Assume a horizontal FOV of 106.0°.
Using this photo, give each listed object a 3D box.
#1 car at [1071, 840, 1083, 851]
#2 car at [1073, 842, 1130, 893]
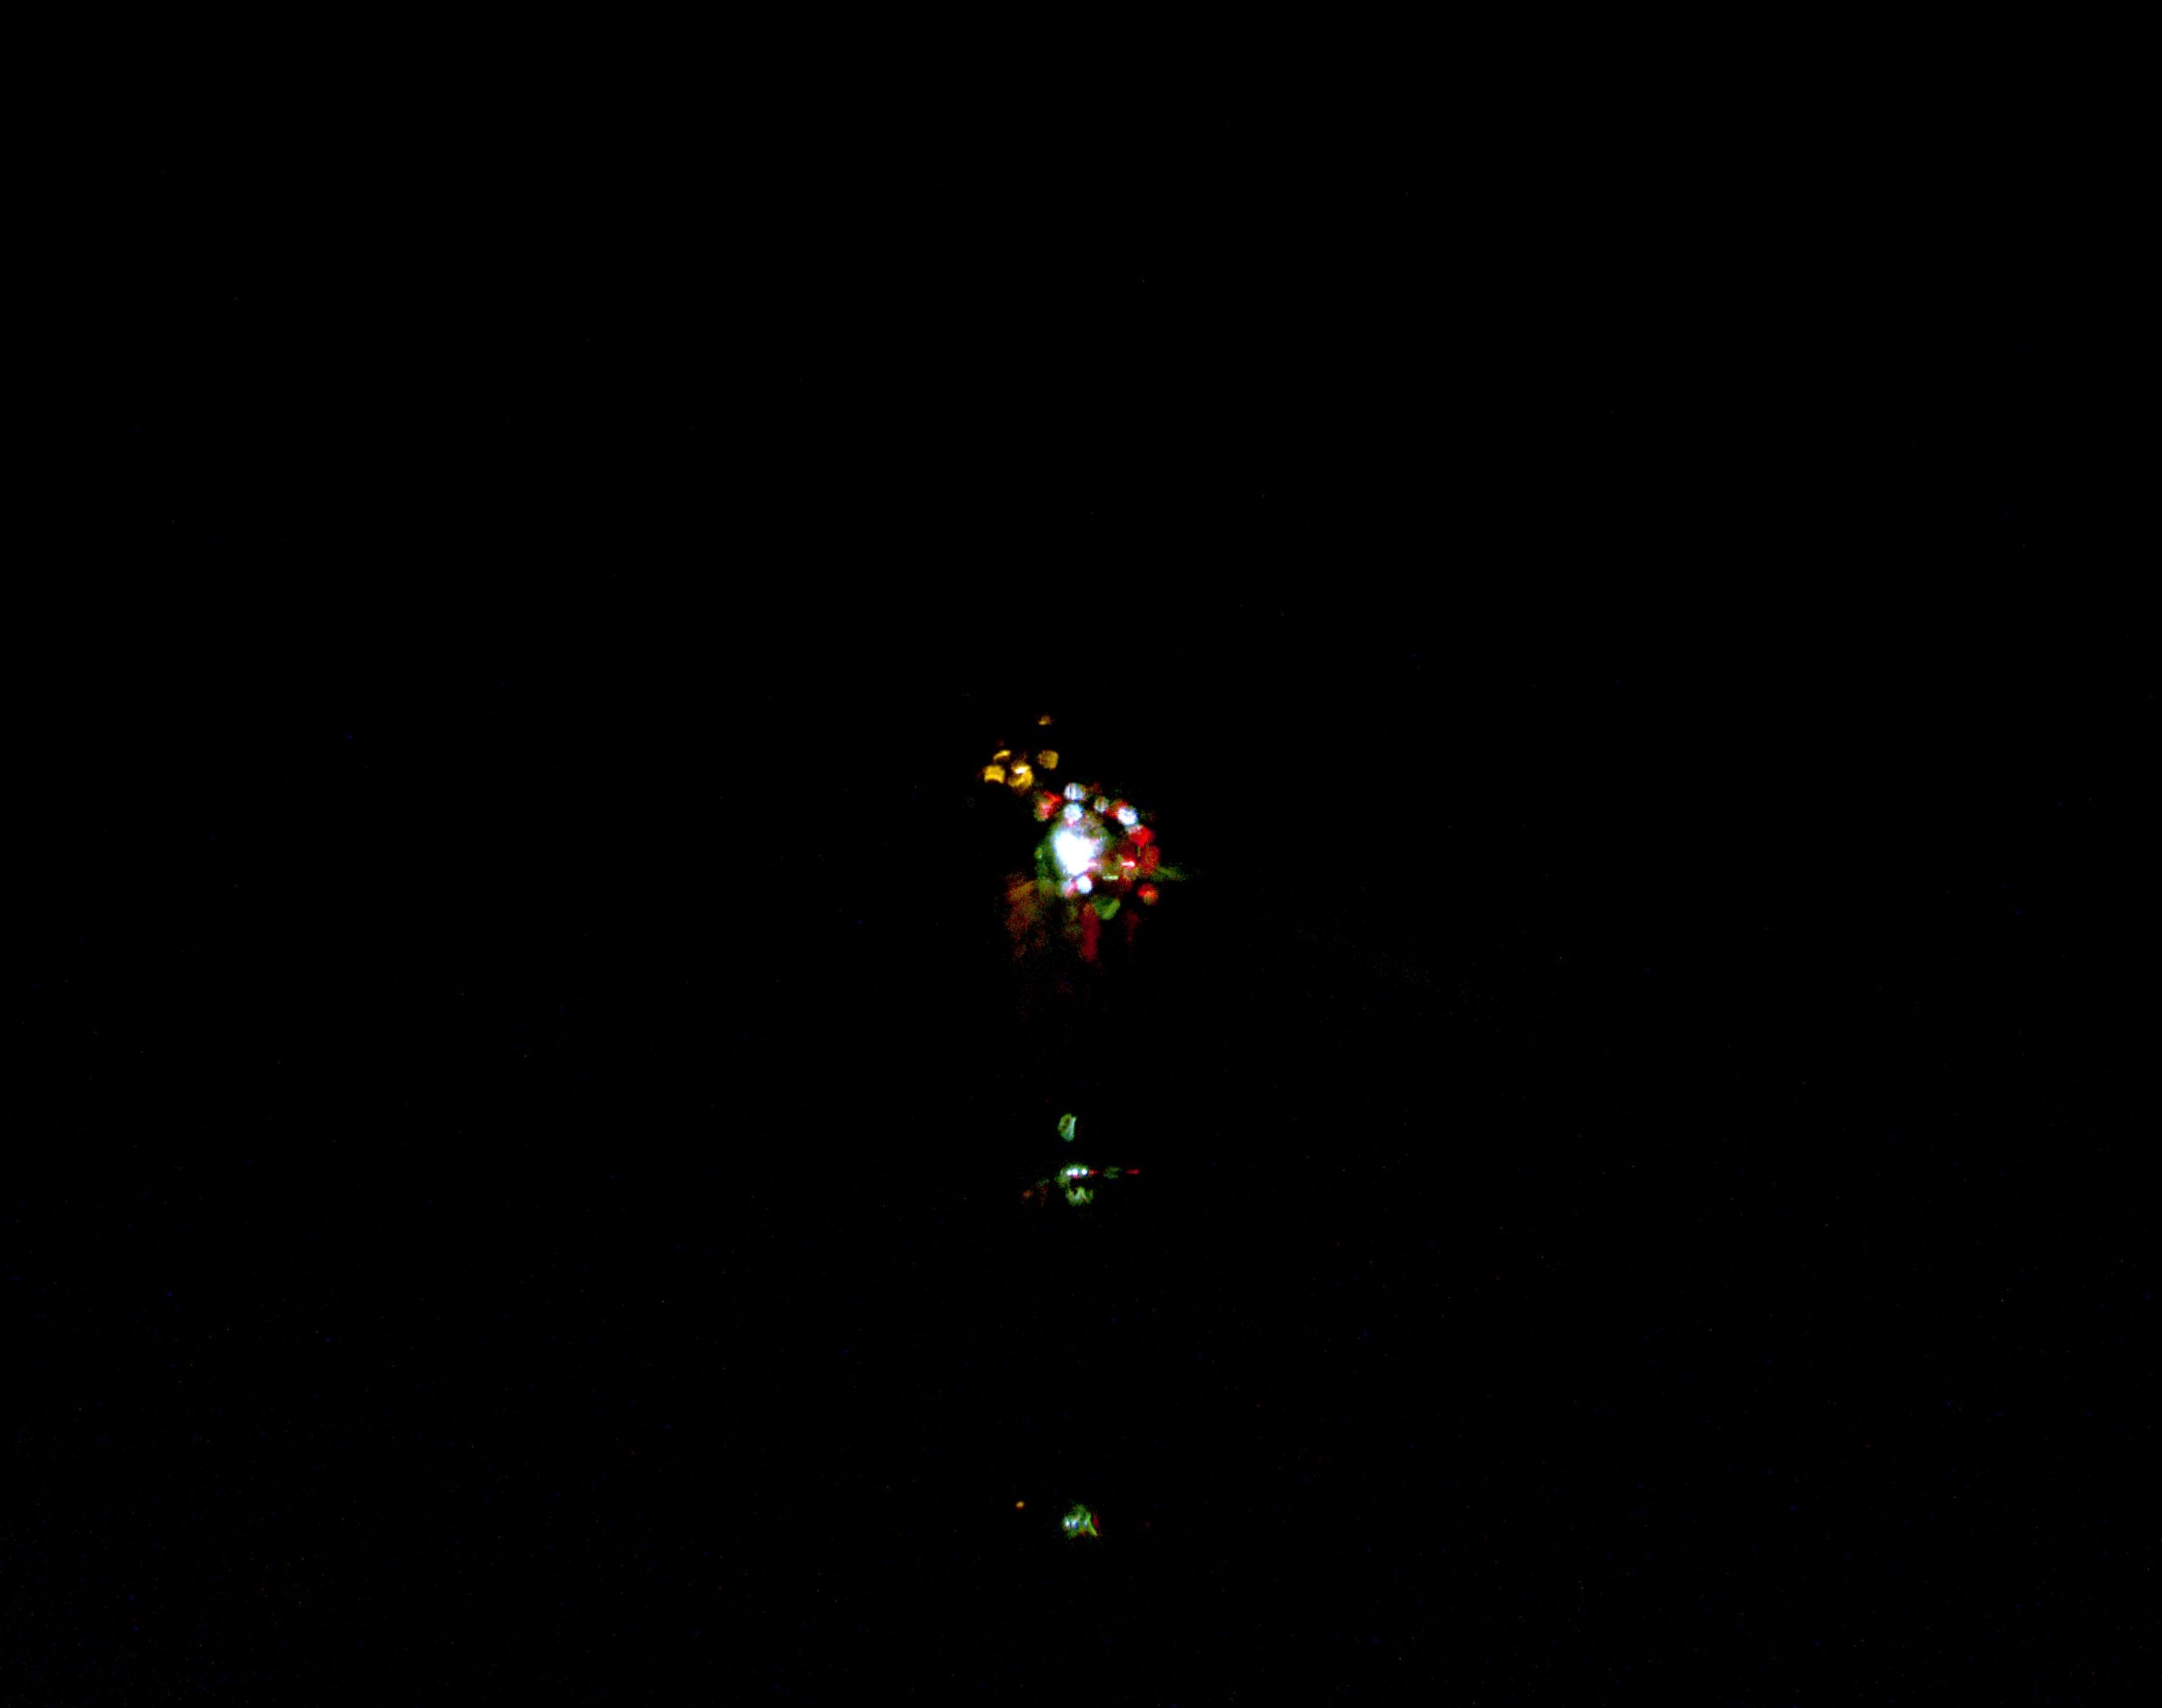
[{"bbox_3d":[-0.576,-1.283,120.936,1.726,1.518,4.016,0,0,1],"label":"car"},{"bbox_3d":[0.716,0.437,27.901,1.794,1.628,3.617,1,0,2],"label":"car"}]
